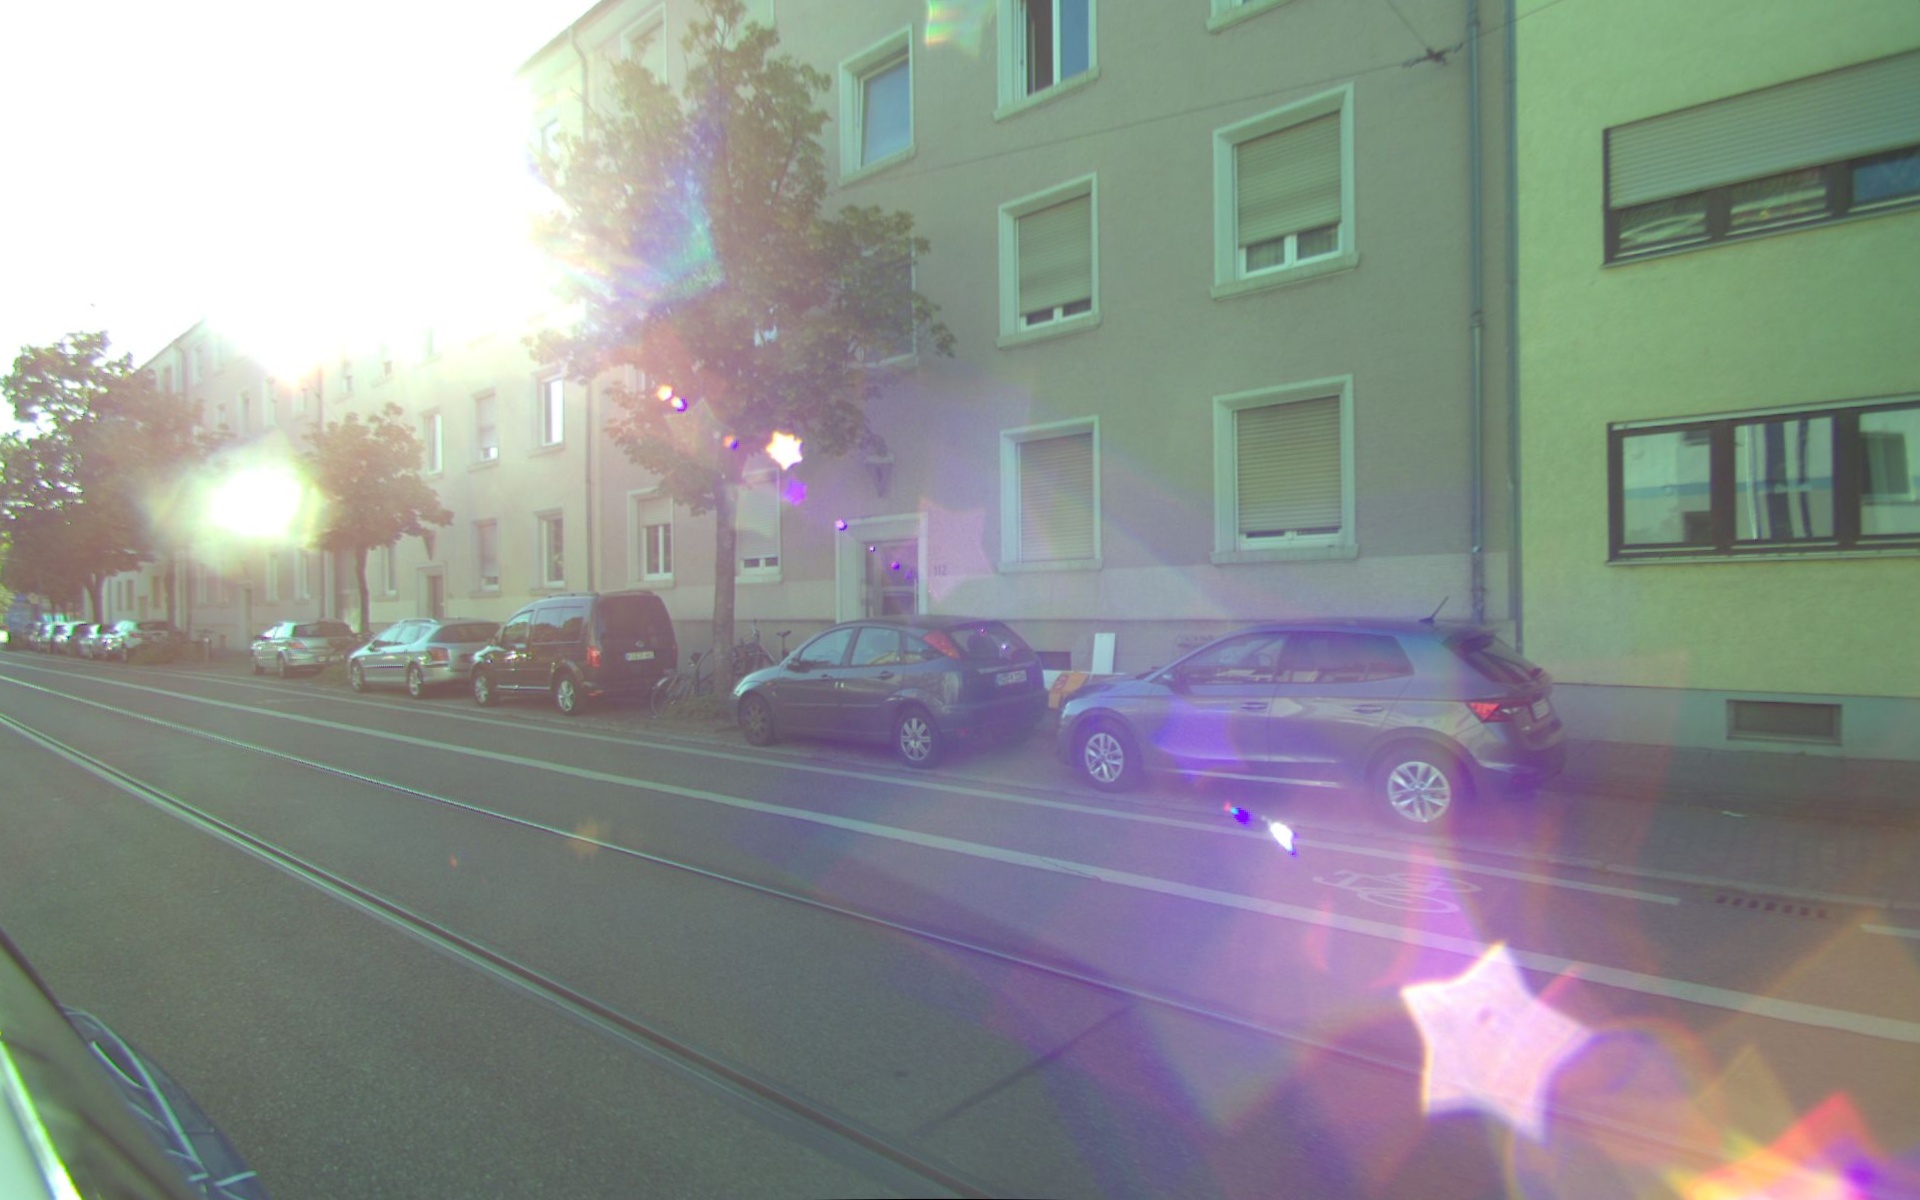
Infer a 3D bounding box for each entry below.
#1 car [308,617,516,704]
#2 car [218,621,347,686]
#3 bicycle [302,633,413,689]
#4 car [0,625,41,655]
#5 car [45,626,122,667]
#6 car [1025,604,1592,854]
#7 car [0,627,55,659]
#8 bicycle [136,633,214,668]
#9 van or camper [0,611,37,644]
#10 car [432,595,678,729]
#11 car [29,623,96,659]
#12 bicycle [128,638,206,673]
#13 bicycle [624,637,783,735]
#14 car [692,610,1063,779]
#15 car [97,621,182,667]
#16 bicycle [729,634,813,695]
[{"bbox_3d":[-10.896,1.123,19.963,4.850,1.484,1.749,-1,0,37],"label":"car"},{"bbox_3d":[-17.571,1.309,26.139,4.752,1.484,1.746,-1,0,43],"label":"car"},{"bbox_3d":[-14.002,1.388,23.575,0.659,1.151,2.124,-1,1,37],"label":"bicycle"},{"bbox_3d":[-52.162,2.192,55.748,3.945,1.563,1.668,-1,-1,38],"label":"car"},{"bbox_3d":[-36.052,1.885,41.595,4.043,1.563,1.668,-1,-1,38],"label":"car"},{"bbox_3d":[2.696,0.854,8.346,4.039,1.484,1.747,-1,2,41],"label":"car"},{"bbox_3d":[-48.805,2.223,52.846,3.710,1.563,1.668,-1,-1,38],"label":"car"},{"bbox_3d":[-27.911,1.770,36.014,0.530,1.151,2.124,-1,-1,37],"label":"bicycle"},{"bbox_3d":[-71.825,2.068,76.937,5.500,2.432,2.047,-2,-1,43],"label":"van or camper"},{"bbox_3d":[-6.726,0.937,16.610,4.418,1.859,1.748,-2,2,39],"label":"car"},{"bbox_3d":[-41.936,1.904,47.259,4.043,1.563,1.668,-1,-1,38],"label":"car"},{"bbox_3d":[-28.533,1.986,36.447,0.535,1.151,2.124,-1,-1,37],"label":"bicycle"},{"bbox_3d":[-3.561,1.161,14.231,0.746,1.113,2.091,-2,2,39],"label":"bicycle"},{"bbox_3d":[-1.063,0.925,11.452,4.179,1.484,1.747,-1,2,42],"label":"car"},{"bbox_3d":[-31.219,1.630,38.472,4.043,1.635,1.668,-1,-1,38],"label":"car"},{"bbox_3d":[-3.161,1.056,16.888,1.504,0.971,0.479,-1,-1,37],"label":"bicycle"}]
